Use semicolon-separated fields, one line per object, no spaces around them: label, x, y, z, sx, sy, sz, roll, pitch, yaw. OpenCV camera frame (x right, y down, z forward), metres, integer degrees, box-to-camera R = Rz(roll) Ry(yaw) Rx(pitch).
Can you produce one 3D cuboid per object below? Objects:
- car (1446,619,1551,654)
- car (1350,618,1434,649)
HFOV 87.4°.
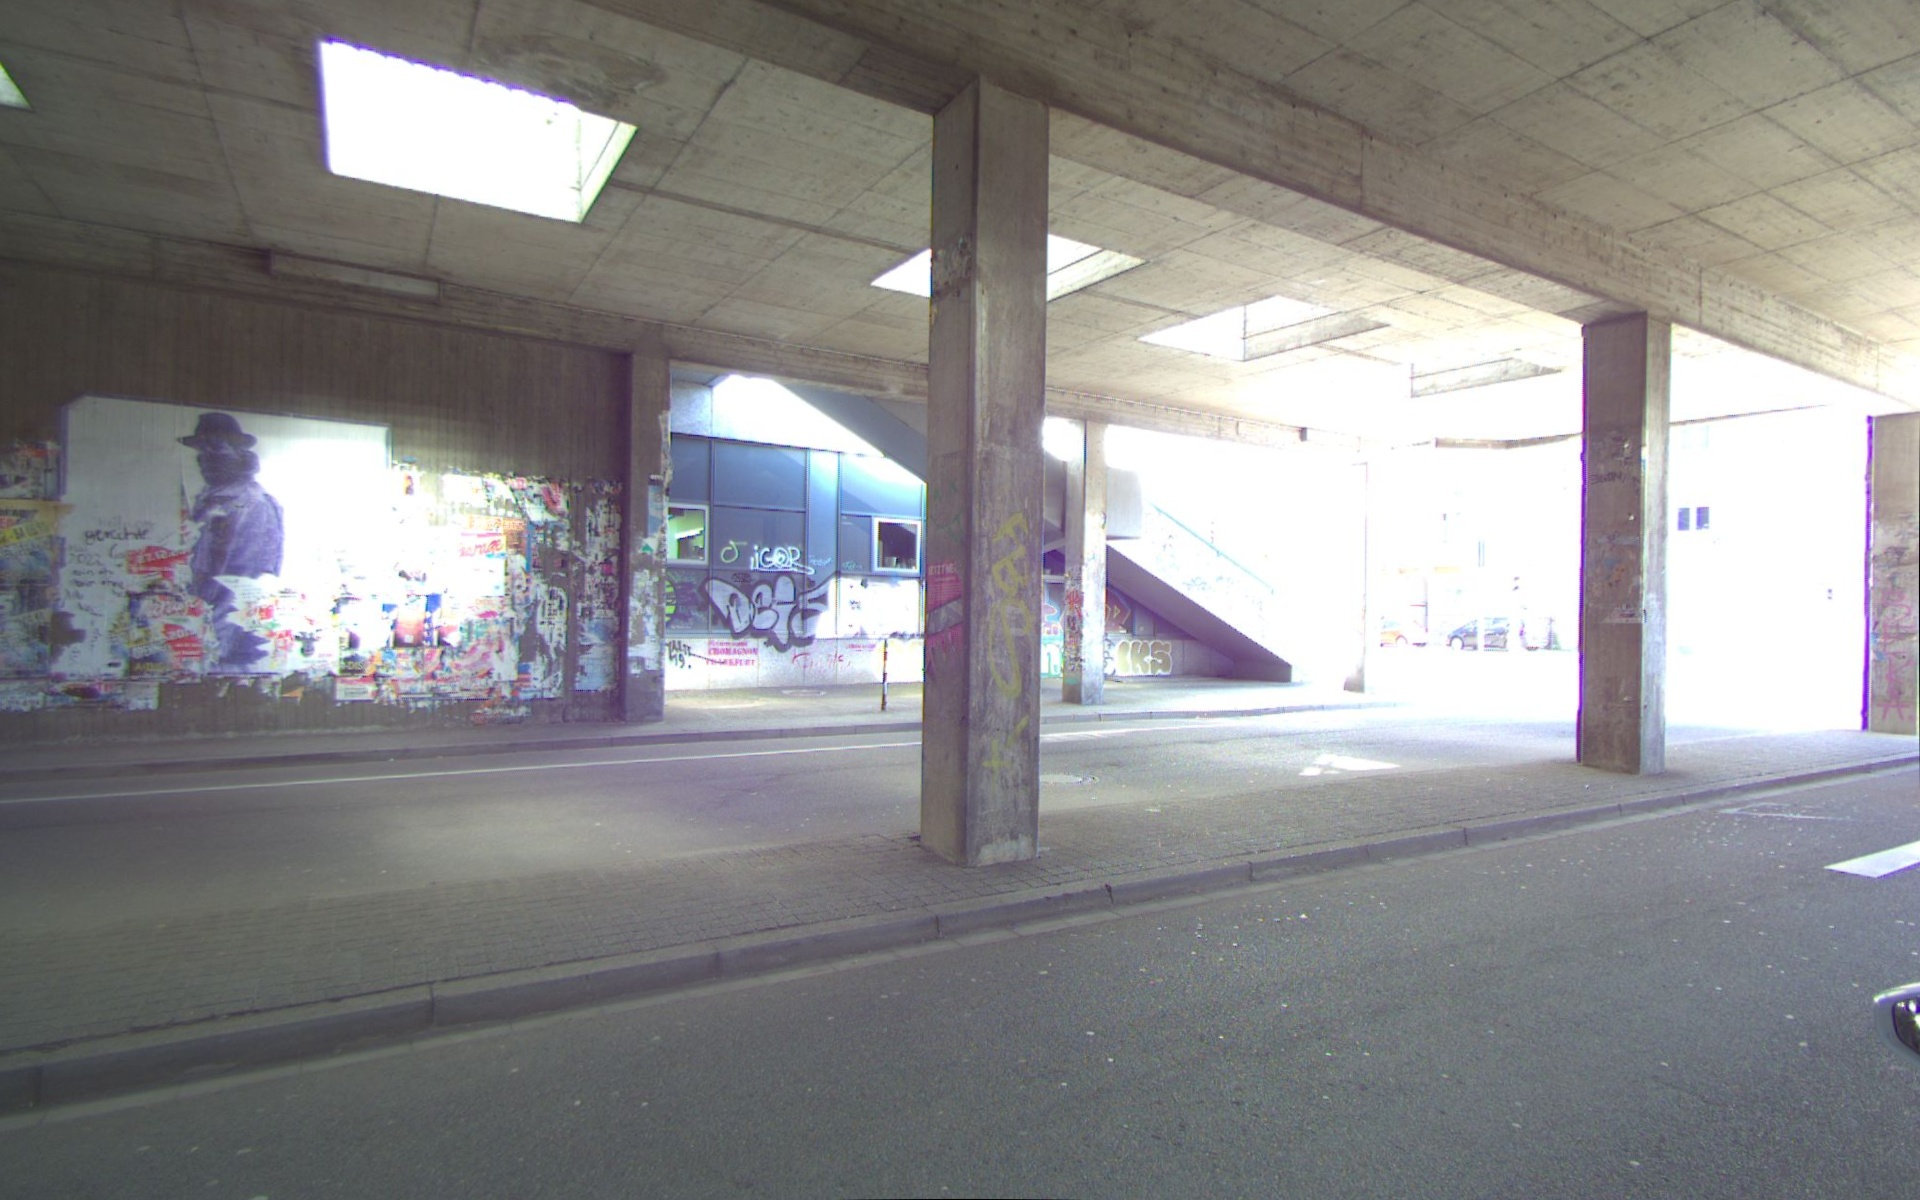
car;25.482;1.705;47.664;1.718;1.495;4.089;2;-1;-31
car;22.570;1.721;52.619;1.730;1.495;3.741;2;-1;-31
